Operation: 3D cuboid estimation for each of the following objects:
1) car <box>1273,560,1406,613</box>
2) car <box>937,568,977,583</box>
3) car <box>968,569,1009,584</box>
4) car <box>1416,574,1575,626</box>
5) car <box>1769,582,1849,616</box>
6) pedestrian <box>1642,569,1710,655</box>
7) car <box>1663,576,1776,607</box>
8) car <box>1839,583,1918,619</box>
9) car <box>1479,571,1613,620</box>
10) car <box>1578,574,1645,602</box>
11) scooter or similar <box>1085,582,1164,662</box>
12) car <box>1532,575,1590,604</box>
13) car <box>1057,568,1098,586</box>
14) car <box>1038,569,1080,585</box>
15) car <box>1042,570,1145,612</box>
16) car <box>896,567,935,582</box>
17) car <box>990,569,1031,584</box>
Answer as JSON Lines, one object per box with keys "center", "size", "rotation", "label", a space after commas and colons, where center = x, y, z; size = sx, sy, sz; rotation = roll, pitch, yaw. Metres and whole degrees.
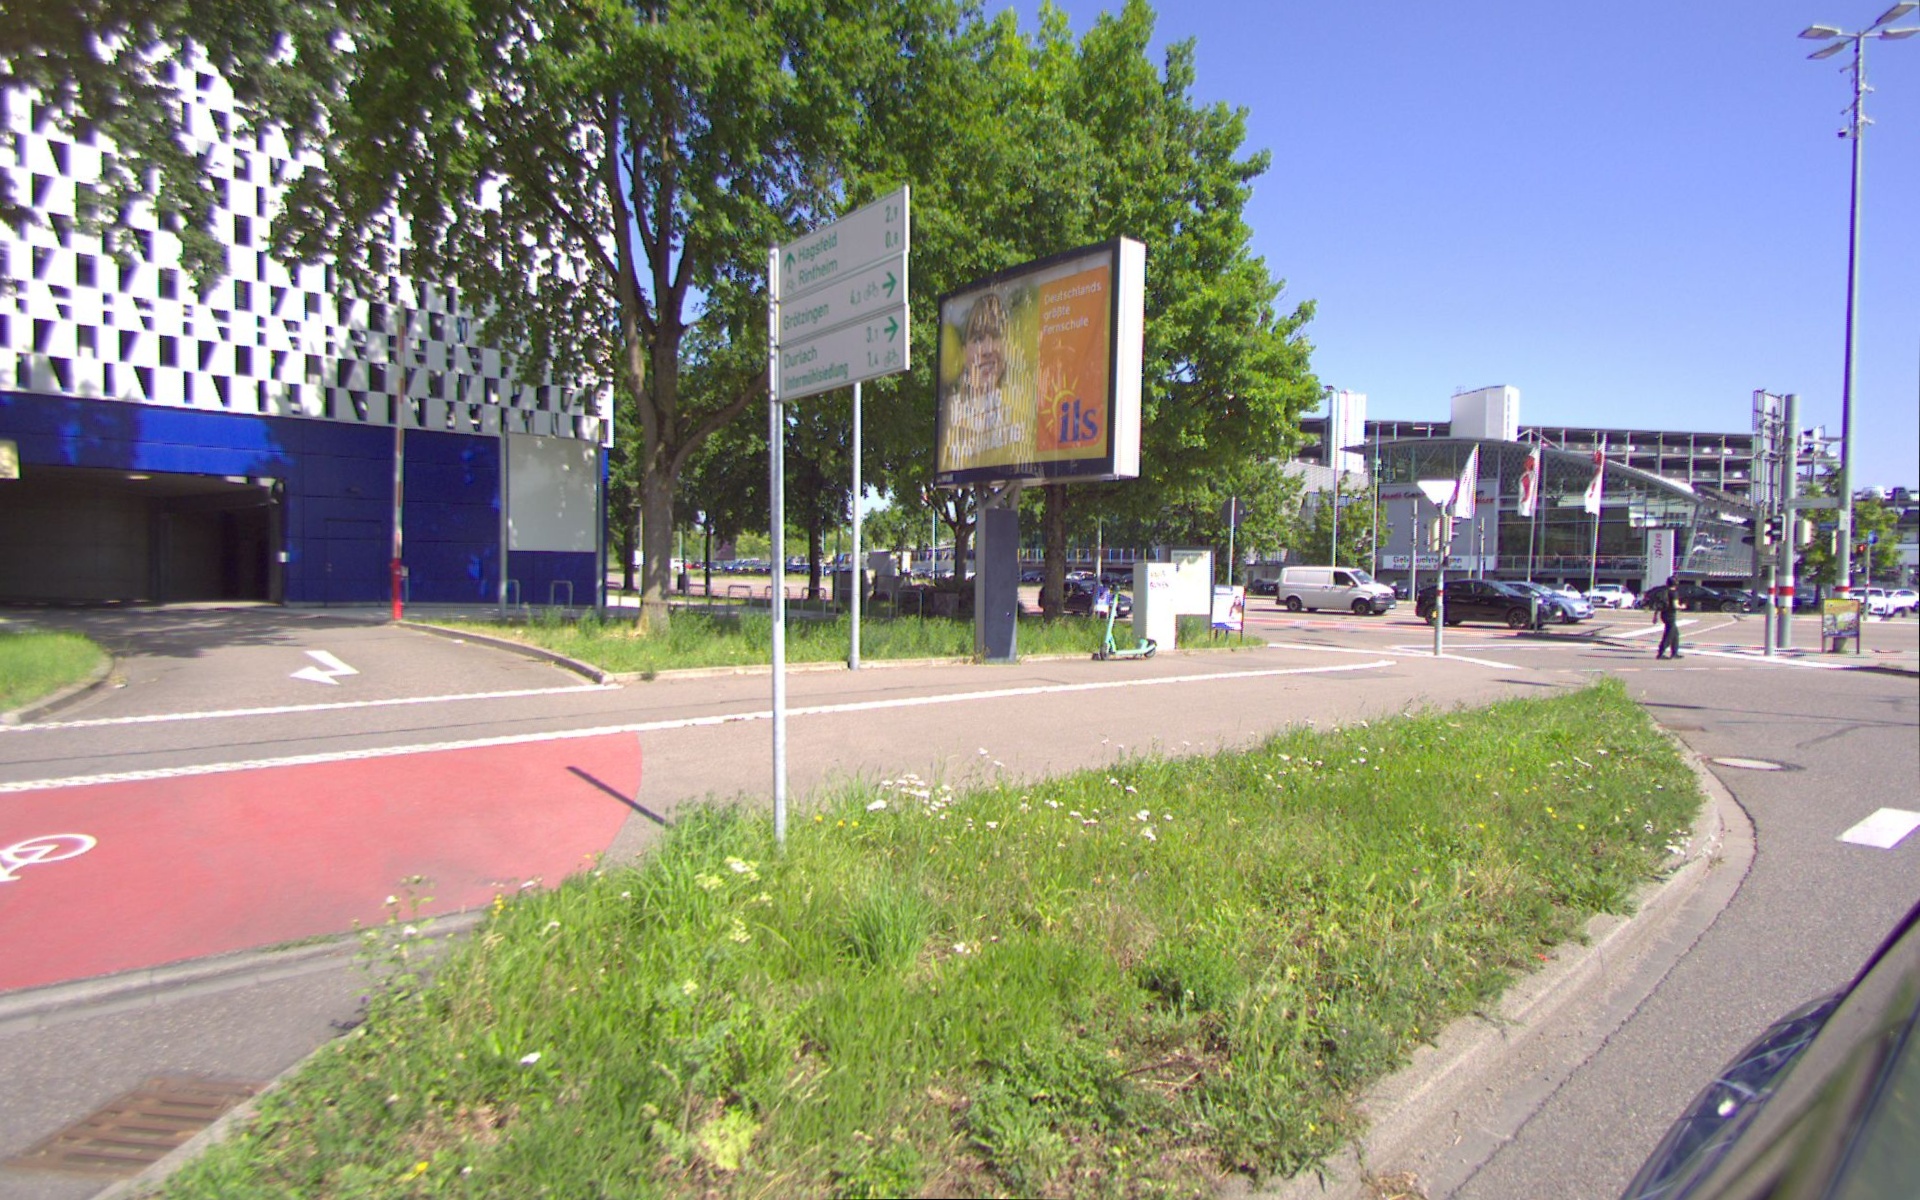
{"center": [15.819, -0.617, 42.436], "size": [1.712, 2.032, 4.991], "rotation": [-2, 3, -42], "label": "car"}
{"center": [-0.295, -2.243, 91.690], "size": [3.354, 1.264, 1.595], "rotation": [0, 2, -37], "label": "car"}
{"center": [2.540, -2.104, 90.413], "size": [3.354, 1.264, 1.595], "rotation": [0, 2, -37], "label": "car"}
{"center": [18.139, -0.045, 34.448], "size": [1.687, 1.647, 4.495], "rotation": [-2, 2, -42], "label": "car"}
{"center": [40.360, -0.047, 48.100], "size": [3.925, 1.479, 2.000], "rotation": [0, 2, -36], "label": "car"}
{"center": [15.472, 0.252, 21.870], "size": [0.939, 1.801, 0.708], "rotation": [1, 2, -16], "label": "pedestrian"}
{"center": [38.447, -0.453, 51.315], "size": [1.791, 1.366, 4.344], "rotation": [0, 2, -42], "label": "car"}
{"center": [42.076, 0.016, 46.345], "size": [3.925, 1.478, 1.889], "rotation": [-1, 3, -36], "label": "car"}
{"center": [21.201, -0.215, 36.738], "size": [1.727, 1.632, 3.832], "rotation": [-1, 3, -35], "label": "car"}
{"center": [34.884, -0.644, 54.149], "size": [4.043, 1.439, 2.002], "rotation": [0, 2, -42], "label": "car"}
{"center": [2.534, 0.323, 15.598], "size": [1.160, 1.181, 0.403], "rotation": [-1, 2, -24], "label": "scooter or similar"}
{"center": [33.318, -0.575, 56.041], "size": [3.824, 1.488, 1.783], "rotation": [0, 2, -44], "label": "car"}
{"center": [9.603, -1.890, 82.740], "size": [3.112, 1.341, 1.641], "rotation": [0, 2, -37], "label": "car"}
{"center": [8.271, -1.897, 84.578], "size": [3.354, 1.264, 1.595], "rotation": [0, 2, -37], "label": "car"}
{"center": [5.508, -0.417, 42.170], "size": [1.740, 1.482, 4.236], "rotation": [-1, 4, -39], "label": "car"}
{"center": [-4.142, -2.403, 95.278], "size": [3.354, 1.264, 1.595], "rotation": [0, 2, -37], "label": "car"}
{"center": [4.390, -2.054, 87.924], "size": [3.354, 1.264, 1.595], "rotation": [0, 2, -37], "label": "car"}
